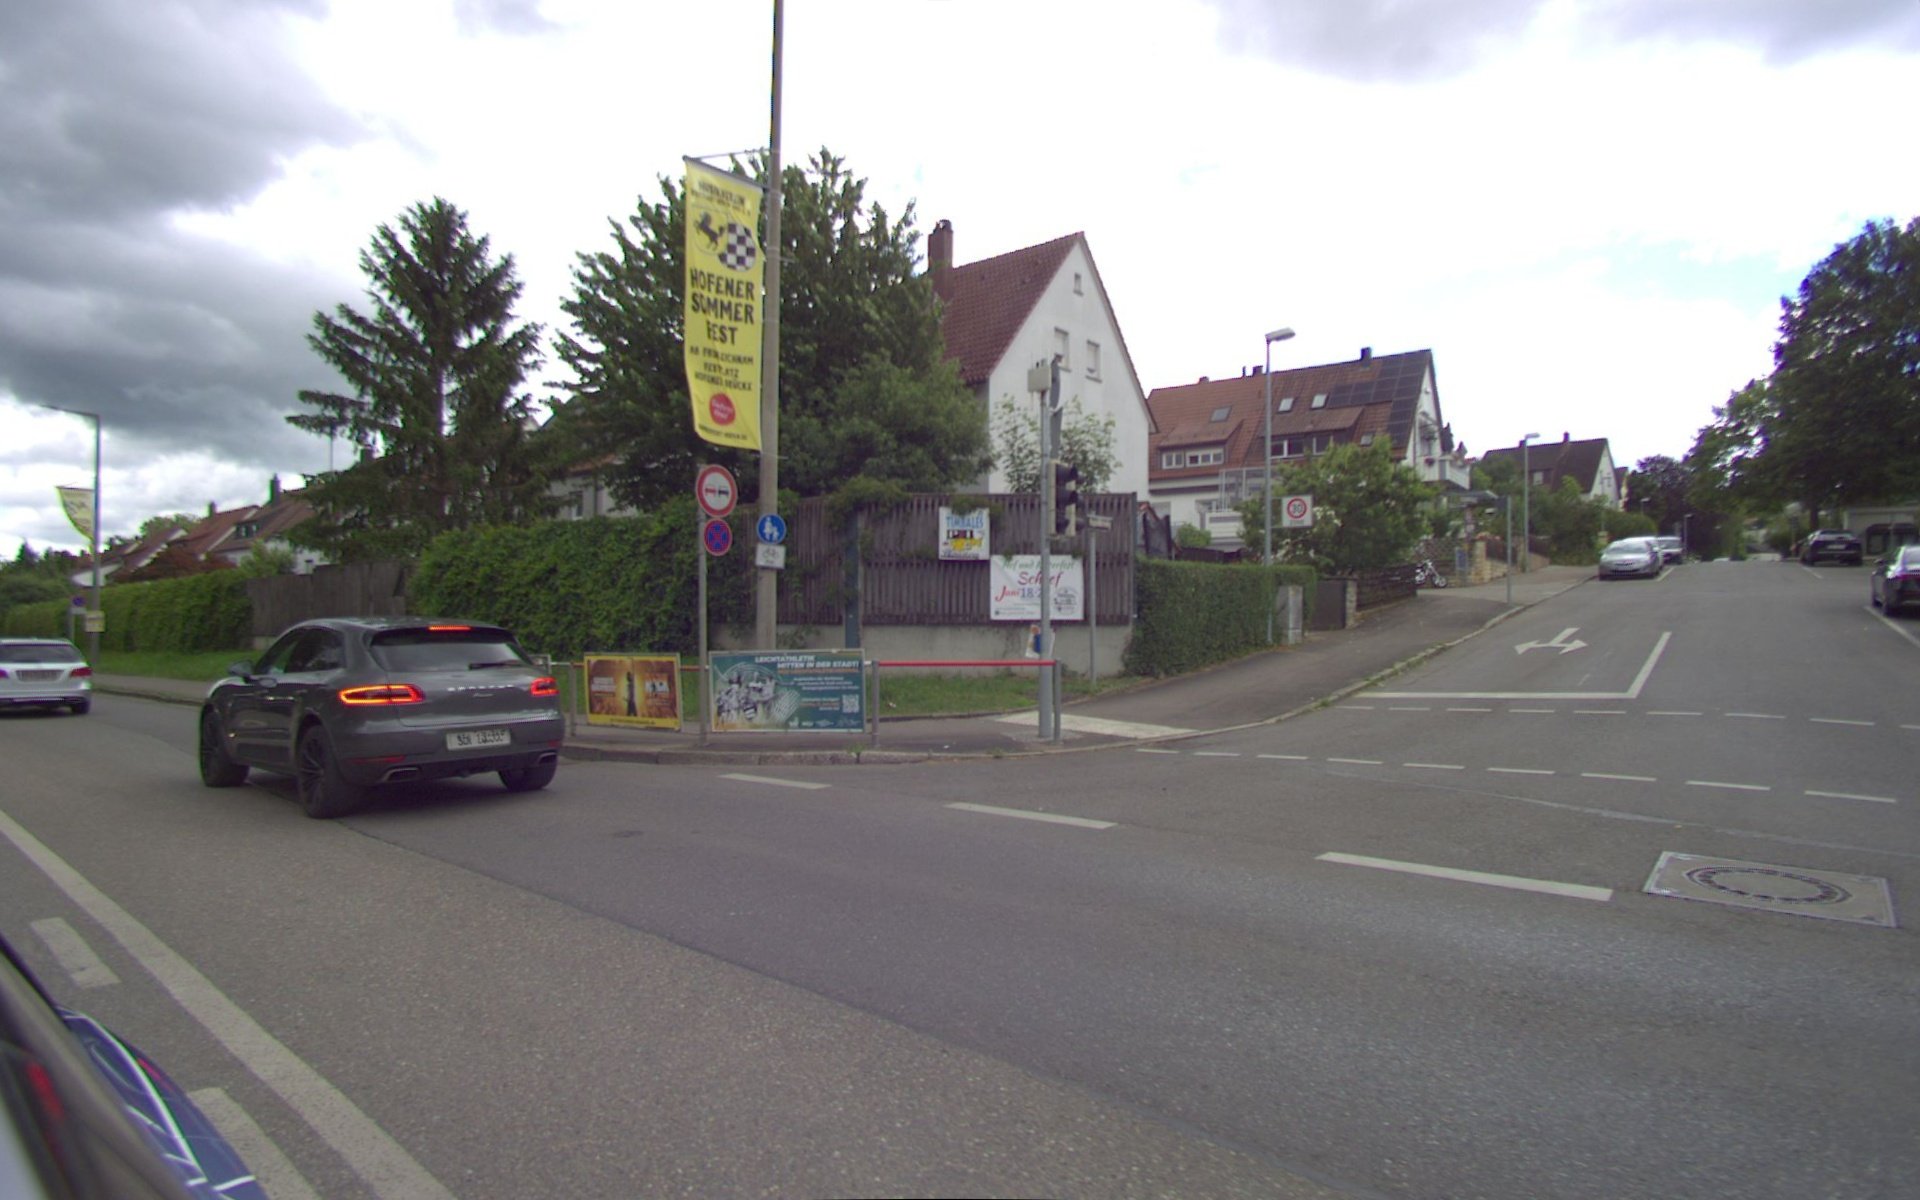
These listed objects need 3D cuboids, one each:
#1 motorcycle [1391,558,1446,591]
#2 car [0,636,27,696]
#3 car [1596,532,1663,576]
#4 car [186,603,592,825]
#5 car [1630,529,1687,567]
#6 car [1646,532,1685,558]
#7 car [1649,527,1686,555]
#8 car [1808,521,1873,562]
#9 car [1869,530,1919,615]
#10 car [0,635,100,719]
[{"bbox_3d":[16.821,-0.948,37.129,1.789,1.116,0.496,-2,1,24],"label":"motorcycle"},{"bbox_3d":[-27.679,1.833,28.235,4.117,1.591,1.880,-2,-3,40],"label":"car"},{"bbox_3d":[25.908,-1.788,39.094,1.798,1.521,3.949,-1,3,39],"label":"car"},{"bbox_3d":[-5.405,0.904,9.362,4.275,1.591,1.880,-2,-3,40],"label":"car"},{"bbox_3d":[31.799,-2.386,46.010,1.798,1.521,3.948,-1,3,39],"label":"car"},{"bbox_3d":[46.139,-3.621,66.149,1.798,1.521,3.948,-1,3,39],"label":"car"},{"bbox_3d":[51.145,-4.283,73.165,1.873,1.850,3.948,-1,3,39],"label":"car"},{"bbox_3d":[36.793,-2.476,42.375,1.839,1.547,3.950,0,4,38],"label":"car"},{"bbox_3d":[20.047,-0.642,20.695,1.797,1.521,3.951,-2,3,37],"label":"car"},{"bbox_3d":[-18.823,1.481,20.160,4.203,1.522,1.856,-2,-3,40],"label":"car"}]
